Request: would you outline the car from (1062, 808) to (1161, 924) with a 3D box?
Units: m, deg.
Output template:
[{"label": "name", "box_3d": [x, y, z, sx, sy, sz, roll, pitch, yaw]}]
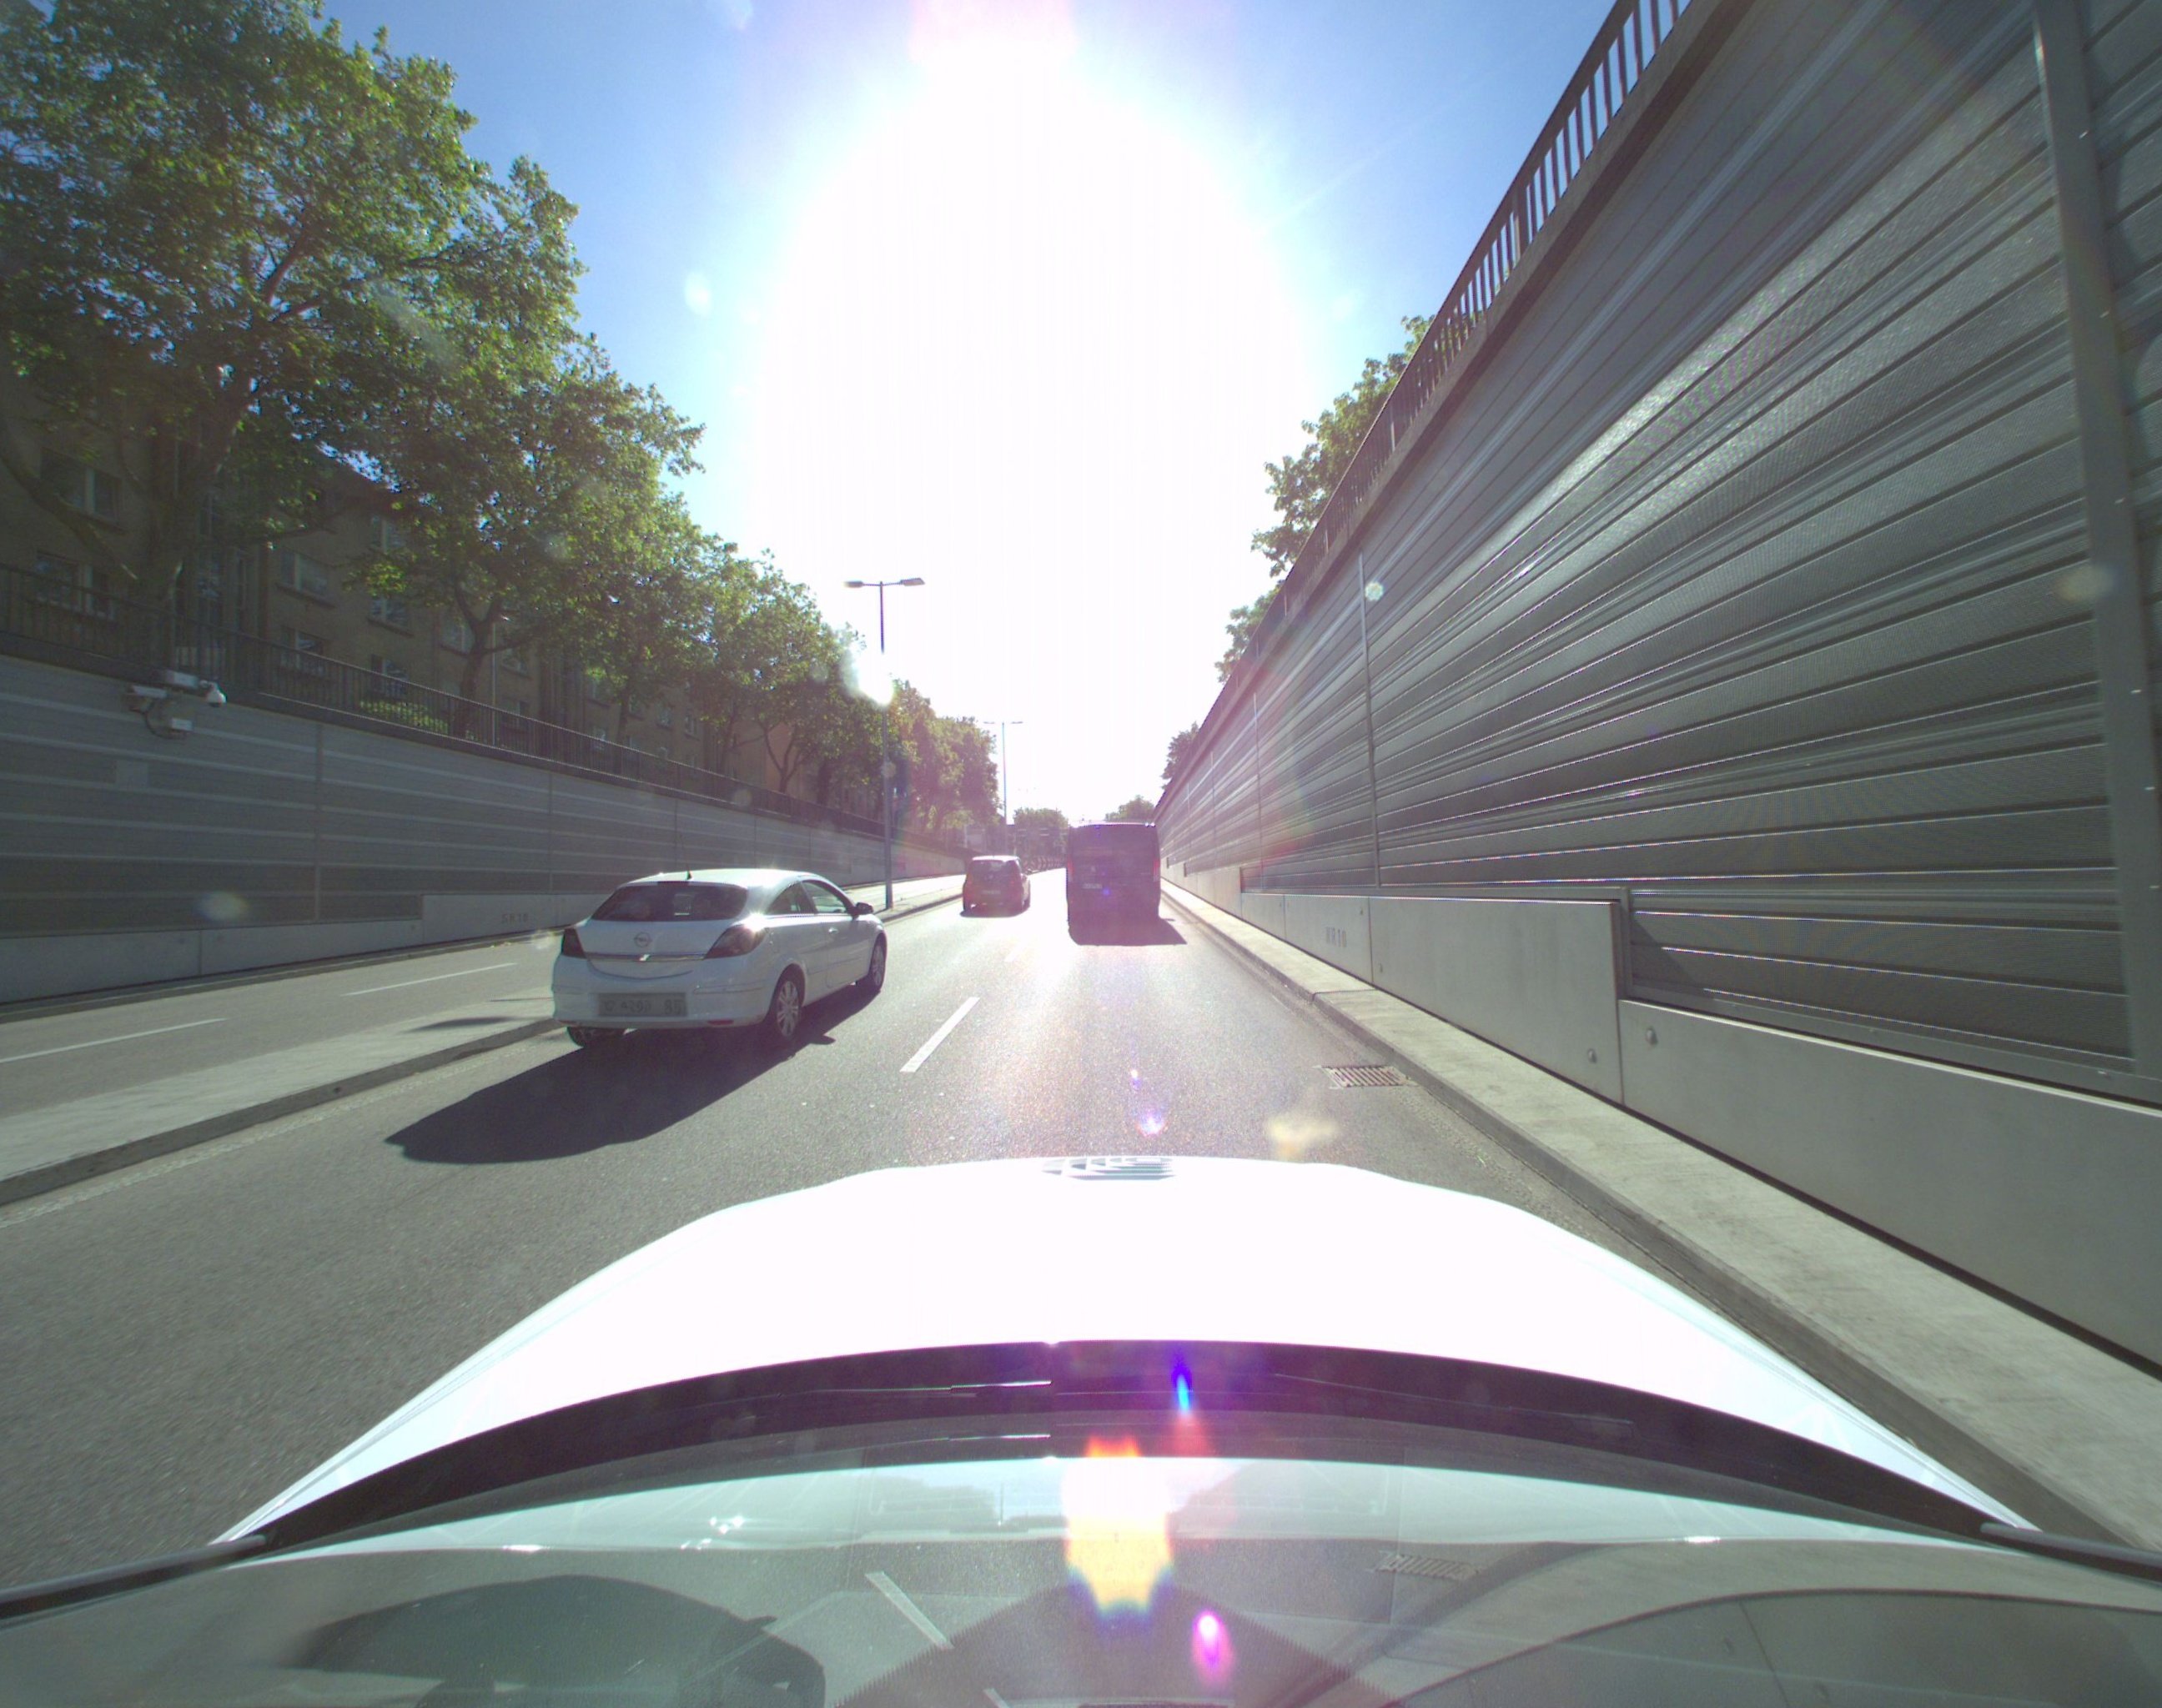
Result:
[{"label": "car", "box_3d": [0.707, 0.287, 19.177, 2.022, 2.402, 3.974, -1, -1, 2]}]

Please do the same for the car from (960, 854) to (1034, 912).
[{"label": "car", "box_3d": [-2.308, 0.765, 23.107, 1.683, 1.483, 3.319, -1, 0, 1]}]

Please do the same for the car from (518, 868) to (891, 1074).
[{"label": "car", "box_3d": [-3.099, 0.855, 7.647, 1.613, 1.403, 3.853, -1, -1, 1]}]
